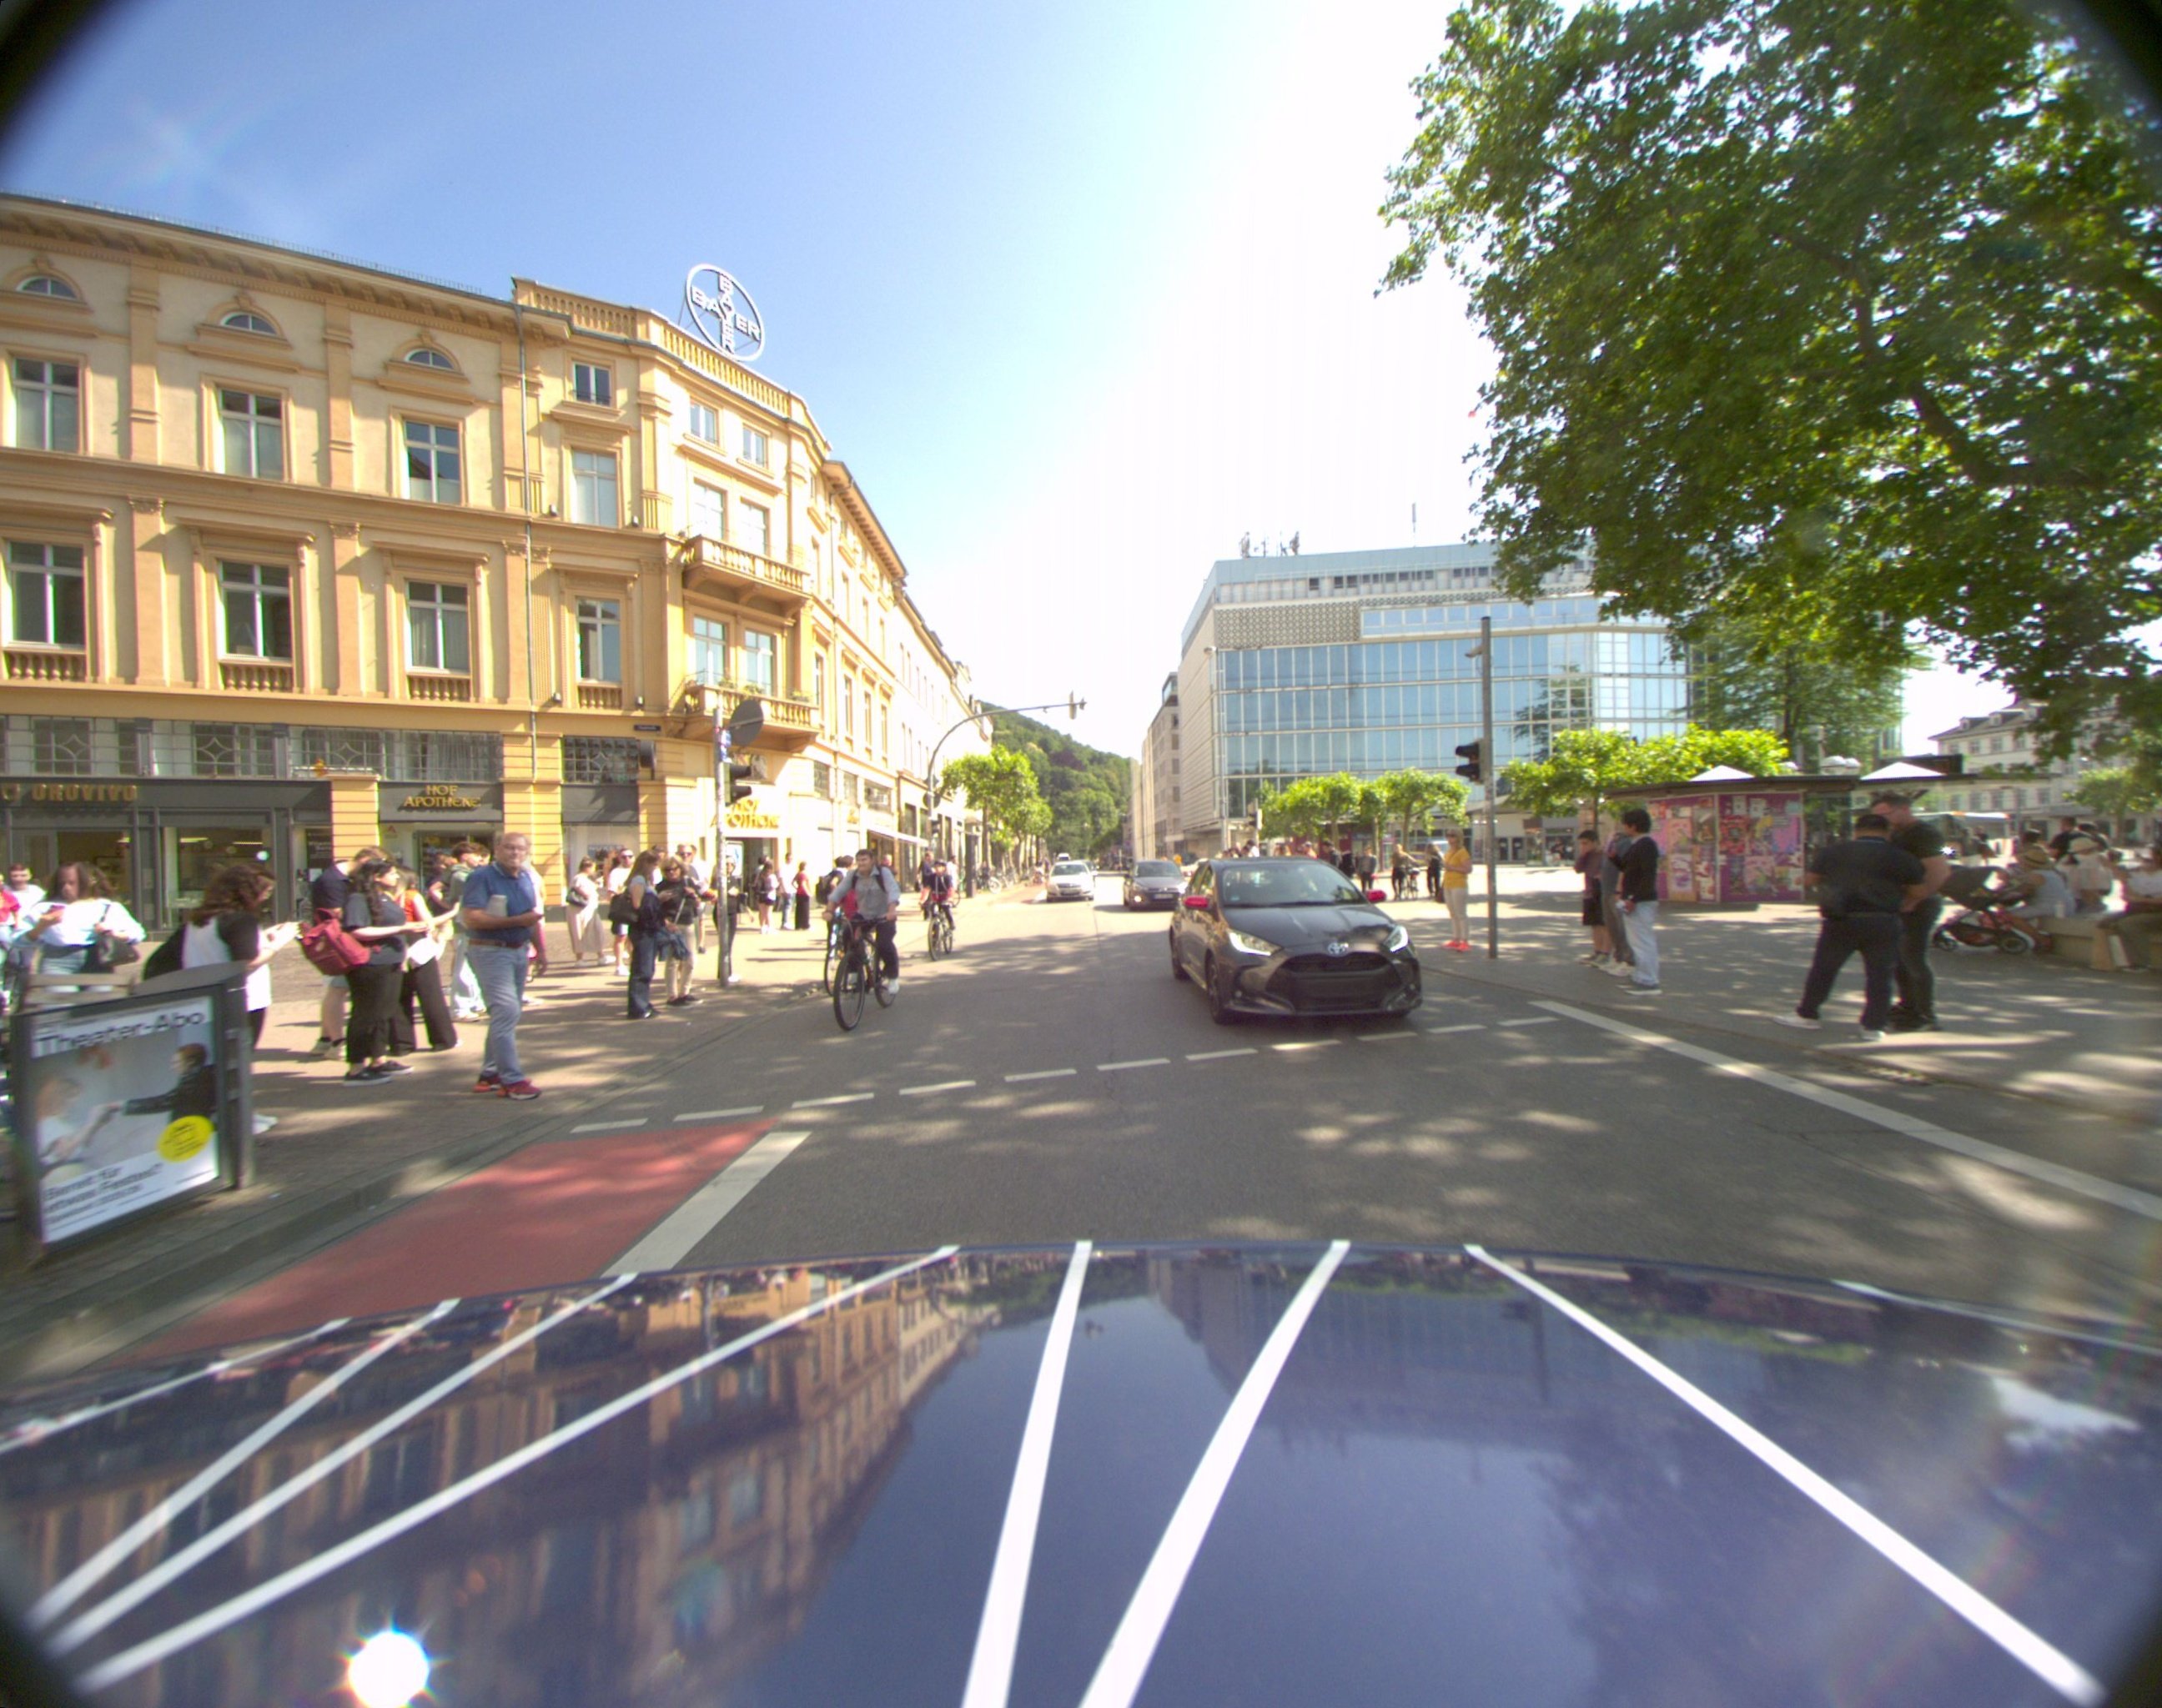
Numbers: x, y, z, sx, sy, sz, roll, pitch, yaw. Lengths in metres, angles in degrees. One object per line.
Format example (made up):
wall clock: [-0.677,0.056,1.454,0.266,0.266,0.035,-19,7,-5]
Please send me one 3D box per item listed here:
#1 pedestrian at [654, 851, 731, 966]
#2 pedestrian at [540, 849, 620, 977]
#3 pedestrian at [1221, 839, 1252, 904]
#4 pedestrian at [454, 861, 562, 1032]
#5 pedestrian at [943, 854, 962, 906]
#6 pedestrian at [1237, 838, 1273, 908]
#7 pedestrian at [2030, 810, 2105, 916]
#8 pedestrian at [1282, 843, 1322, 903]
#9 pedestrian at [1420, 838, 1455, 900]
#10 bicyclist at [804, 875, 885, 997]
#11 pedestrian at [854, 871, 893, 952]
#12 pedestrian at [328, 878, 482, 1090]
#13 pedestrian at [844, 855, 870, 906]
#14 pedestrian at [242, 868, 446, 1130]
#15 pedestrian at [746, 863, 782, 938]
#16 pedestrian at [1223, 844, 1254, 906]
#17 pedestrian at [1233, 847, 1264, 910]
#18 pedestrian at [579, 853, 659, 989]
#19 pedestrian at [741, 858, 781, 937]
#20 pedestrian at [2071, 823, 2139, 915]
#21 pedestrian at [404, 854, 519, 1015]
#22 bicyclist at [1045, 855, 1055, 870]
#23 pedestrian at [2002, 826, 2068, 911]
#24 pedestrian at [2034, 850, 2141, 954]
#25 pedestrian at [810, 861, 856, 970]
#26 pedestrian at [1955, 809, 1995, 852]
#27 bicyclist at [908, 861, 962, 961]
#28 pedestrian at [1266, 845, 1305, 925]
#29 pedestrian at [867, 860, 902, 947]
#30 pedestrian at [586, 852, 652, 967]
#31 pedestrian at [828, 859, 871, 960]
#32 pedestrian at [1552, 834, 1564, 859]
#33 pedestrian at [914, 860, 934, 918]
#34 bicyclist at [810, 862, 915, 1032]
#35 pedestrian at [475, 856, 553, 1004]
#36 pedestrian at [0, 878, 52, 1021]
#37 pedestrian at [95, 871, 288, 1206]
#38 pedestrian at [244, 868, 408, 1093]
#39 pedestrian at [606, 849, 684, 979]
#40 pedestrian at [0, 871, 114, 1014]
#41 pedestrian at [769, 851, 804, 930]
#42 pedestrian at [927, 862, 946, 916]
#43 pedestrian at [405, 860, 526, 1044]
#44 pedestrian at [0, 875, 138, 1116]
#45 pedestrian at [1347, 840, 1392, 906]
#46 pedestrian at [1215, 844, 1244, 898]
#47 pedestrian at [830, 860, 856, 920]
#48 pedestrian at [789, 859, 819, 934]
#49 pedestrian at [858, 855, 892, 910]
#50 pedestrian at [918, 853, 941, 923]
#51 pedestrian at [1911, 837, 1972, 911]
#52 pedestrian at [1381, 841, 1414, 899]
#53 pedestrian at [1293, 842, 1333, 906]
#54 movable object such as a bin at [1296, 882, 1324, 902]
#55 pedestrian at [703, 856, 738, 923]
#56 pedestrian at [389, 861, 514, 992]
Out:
pedestrian: [-6.551,0.894,12.834,0.621,1.835,0.856,-3,1,38]
pedestrian: [-7.530,0.867,11.444,0.665,1.835,0.622,-3,1,0]
pedestrian: [4.714,0.517,23.043,0.639,1.909,0.860,-3,1,-2]
pedestrian: [-6.141,0.956,8.179,0.578,1.730,0.622,-4,1,-4]
pedestrian: [-4.403,0.880,26.017,0.650,1.770,0.621,0,2,-11]
pedestrian: [4.512,0.486,19.735,0.639,1.737,0.733,-3,1,-2]
pedestrian: [16.648,0.148,12.835,0.554,1.717,0.492,-3,1,7]
pedestrian: [6.654,0.555,22.881,0.876,1.737,0.733,-3,1,-2]
pedestrian: [10.356,0.427,22.103,0.732,1.737,0.640,-3,1,13]
bicyclist: [-2.927,0.991,9.475,0.690,1.388,0.778,-3,1,-2]
pedestrian: [-3.999,1.088,14.675,0.673,1.488,0.637,-2,1,-15]
pedestrian: [-5.453,1.012,6.169,0.578,1.575,0.622,-4,1,-4]
pedestrian: [-7.522,0.882,25.514,0.688,1.675,0.578,-2,1,-4]
pedestrian: [-5.185,0.964,5.403,0.578,1.675,0.775,-4,1,-4]
pedestrian: [-6.876,0.998,16.504,0.513,1.594,0.534,-1,1,0]
pedestrian: [4.615,0.604,22.232,0.639,1.737,0.733,-3,1,-2]
pedestrian: [4.732,0.685,21.514,0.639,1.737,0.605,-3,1,-2]
pedestrian: [-6.391,0.898,10.544,0.578,1.792,0.696,-4,1,-4]
pedestrian: [-7.197,0.960,17.123,0.578,1.716,0.622,-2,1,0]
pedestrian: [17.539,0.255,13.020,0.491,1.517,0.456,-3,1,7]
pedestrian: [-7.308,0.918,9.000,0.650,1.793,0.699,-3,1,-2]
bicyclist: [-2.734,0.753,67.219,0.726,1.271,0.715,-3,1,0]
pedestrian: [17.047,0.247,13.585,0.455,1.464,0.555,-3,1,8]
pedestrian: [12.798,0.587,9.672,0.672,1.234,0.614,-4,1,-18]
pedestrian: [-4.012,0.972,12.325,0.579,1.675,0.727,-4,1,-16]
pedestrian: [37.604,-0.966,31.977,0.752,1.737,0.782,-4,1,-11]
bicyclist: [-2.425,0.926,12.678,0.690,1.567,0.778,-3,1,-4]
pedestrian: [4.495,0.662,16.708,0.575,1.704,0.651,-3,1,-2]
pedestrian: [-3.985,0.993,15.440,0.578,1.720,0.718,1,-1,-8]
pedestrian: [-7.633,0.897,12.568,0.578,1.835,0.622,-3,1,0]
pedestrian: [-4.166,0.974,13.677,0.606,1.726,0.647,-3,2,-23]
pedestrian: [29.407,-0.460,46.850,0.464,1.464,0.401,-4,1,-17]
pedestrian: [-4.621,1.019,22.329,0.578,1.674,0.676,0,0,-12]
bicyclist: [-2.166,0.894,7.637,0.750,1.567,0.778,-3,1,-1]
pedestrian: [-7.325,0.951,9.809,0.623,1.806,0.631,-5,2,-44]
pedestrian: [-12.936,1.135,8.892,0.798,1.638,0.622,-3,1,0]
pedestrian: [-4.981,0.957,4.269,0.620,1.675,0.579,-2,1,39]
pedestrian: [-6.047,0.972,6.124,0.578,1.675,0.622,-4,1,-4]
pedestrian: [-6.503,0.868,11.363,0.686,1.847,0.622,-4,1,-4]
pedestrian: [-13.425,1.126,9.907,0.578,1.744,0.699,-3,1,0]
pedestrian: [-6.893,0.846,17.822,0.578,1.804,0.605,1,1,0]
pedestrian: [-4.346,1.046,22.873,0.531,1.586,0.588,0,1,-12]
pedestrian: [-6.105,0.936,7.567,0.578,1.714,0.622,-4,1,-4]
pedestrian: [-7.287,0.963,5.438,0.517,1.575,0.584,-2,2,39]
pedestrian: [7.963,0.511,21.009,0.722,1.737,0.884,-4,1,-10]
pedestrian: [4.961,0.567,25.347,0.731,1.737,0.640,-3,1,24]
pedestrian: [-6.750,0.998,21.567,0.578,1.650,0.621,-2,1,-12]
pedestrian: [-6.357,0.974,17.462,0.444,1.679,0.478,-2,1,0]
pedestrian: [-6.844,0.923,25.270,0.757,1.782,0.860,-2,1,5]
pedestrian: [-4.120,0.915,20.624,0.578,1.863,0.680,1,0,-12]
pedestrian: [18.497,0.421,16.332,0.753,1.498,0.781,-4,1,-38]
pedestrian: [9.384,0.473,22.525,0.732,1.660,0.640,-3,1,13]
pedestrian: [6.538,0.554,21.466,0.751,1.737,0.732,-4,1,-10]
movable object such as a bin: [7.133,1.181,23.692,0.662,0.577,0.528,-3,1,-2]
pedestrian: [-9.904,0.952,20.875,0.749,1.795,0.733,-2,1,-21]
pedestrian: [-9.072,1.007,11.000,0.621,1.748,1.186,-3,1,7]
